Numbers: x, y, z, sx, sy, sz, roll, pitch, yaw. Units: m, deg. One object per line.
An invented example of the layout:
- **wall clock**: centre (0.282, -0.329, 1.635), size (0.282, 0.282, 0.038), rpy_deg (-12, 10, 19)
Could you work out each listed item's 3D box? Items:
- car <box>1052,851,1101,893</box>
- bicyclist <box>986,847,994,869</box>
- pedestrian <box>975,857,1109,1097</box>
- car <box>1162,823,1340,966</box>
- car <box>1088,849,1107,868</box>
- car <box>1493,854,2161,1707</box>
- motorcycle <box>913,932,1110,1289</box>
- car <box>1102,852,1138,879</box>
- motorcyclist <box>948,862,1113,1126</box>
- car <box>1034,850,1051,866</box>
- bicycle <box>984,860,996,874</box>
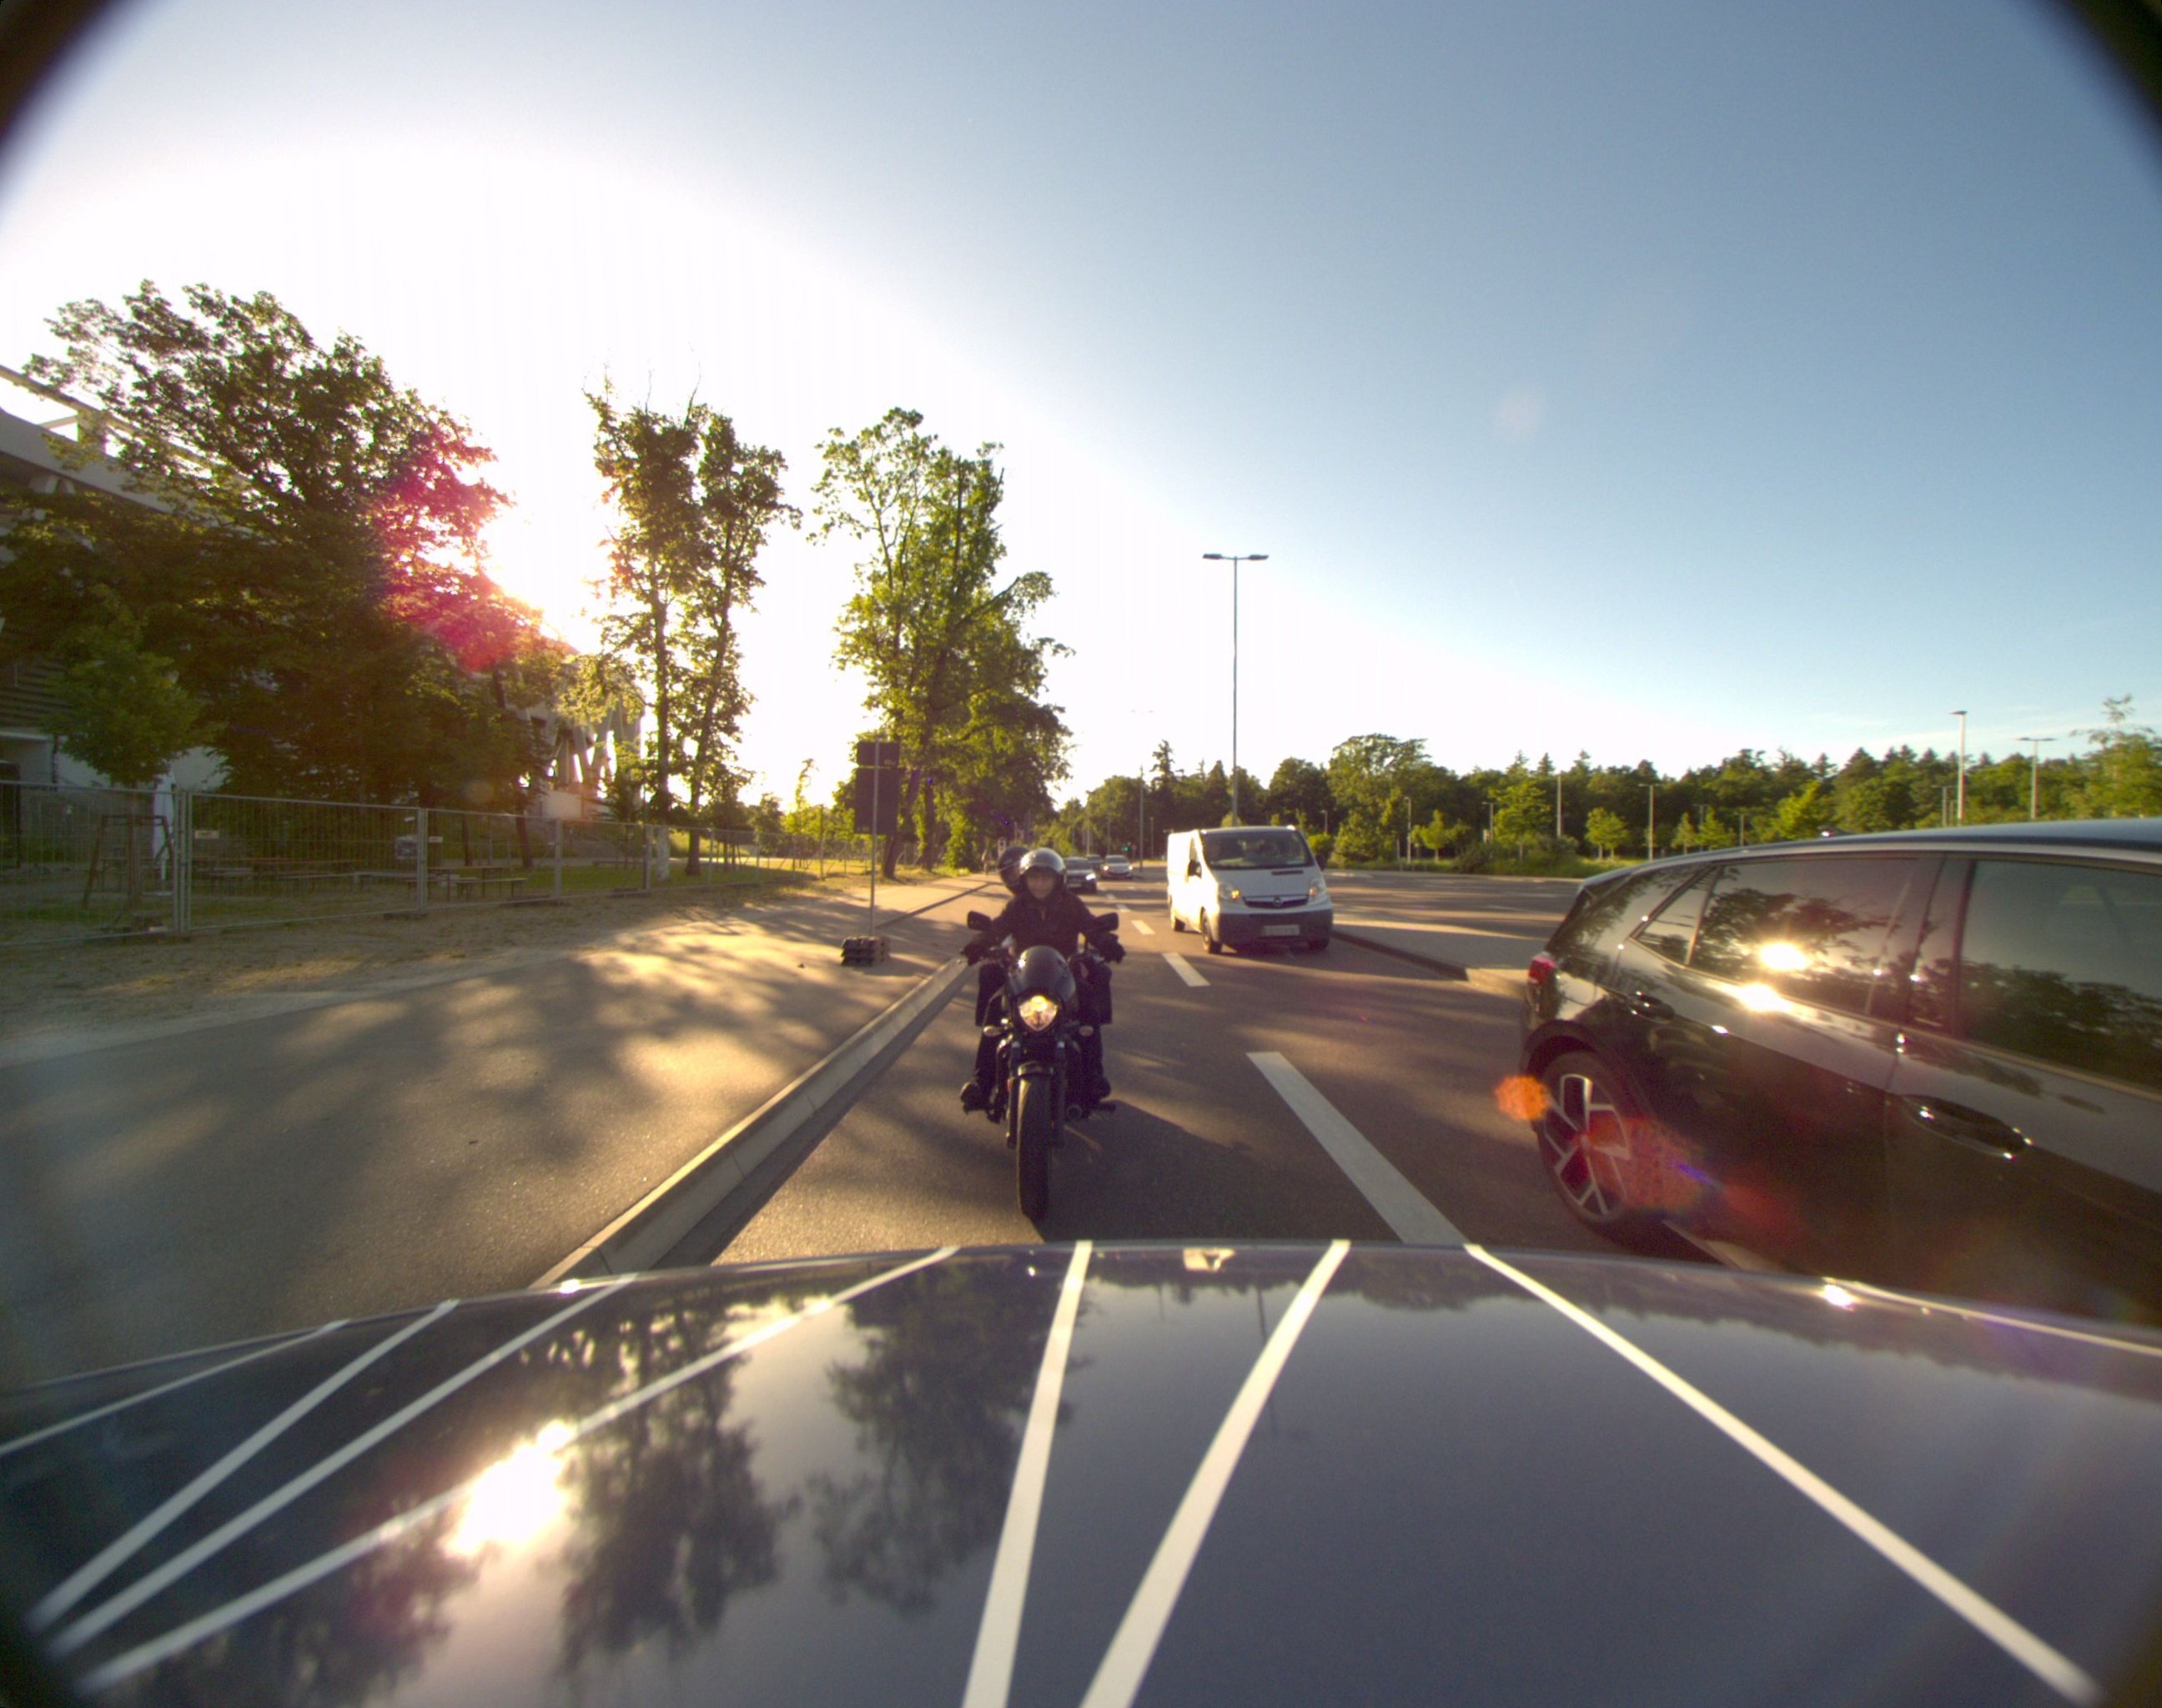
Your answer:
- **car**: centre (-0.203, 0.729, 32.754), size (1.883, 1.629, 5.048), rpy_deg (-2, 0, 0)
- **bicyclist**: centre (-5.879, 0.236, 49.109), size (0.451, 1.412, 0.575), rpy_deg (0, 1, 1)
- **pedestrian**: centre (-0.225, 0.727, 4.731), size (0.739, 1.387, 0.500), rpy_deg (-2, 1, 1)
- **car**: centre (2.676, 0.584, 13.256), size (1.883, 1.951, 5.048), rpy_deg (-2, 0, 0)
- **car**: centre (1.479, 0.383, 69.766), size (1.638, 1.674, 4.000), rpy_deg (-2, 1, 1)
- **car**: centre (2.764, 0.822, 1.318), size (1.883, 1.528, 3.999), rpy_deg (-2, 1, 0)
- **motorcycle**: centre (-0.250, 1.133, 4.289), size (0.717, 1.058, 2.721), rpy_deg (-2, 0, 1)
- **car**: centre (2.345, 0.661, 47.171), size (1.883, 1.514, 5.048), rpy_deg (-2, 0, 0)
- **motorcyclist**: centre (-0.262, 0.746, 4.259), size (0.822, 1.367, 0.476), rpy_deg (-2, 1, 1)
- **car**: centre (-4.560, 0.431, 91.007), size (1.774, 1.849, 3.999), rpy_deg (-2, 1, 1)
- **bicycle**: centre (-5.881, 0.849, 49.160), size (0.481, 0.854, 1.910), rpy_deg (0, 0, 1)
